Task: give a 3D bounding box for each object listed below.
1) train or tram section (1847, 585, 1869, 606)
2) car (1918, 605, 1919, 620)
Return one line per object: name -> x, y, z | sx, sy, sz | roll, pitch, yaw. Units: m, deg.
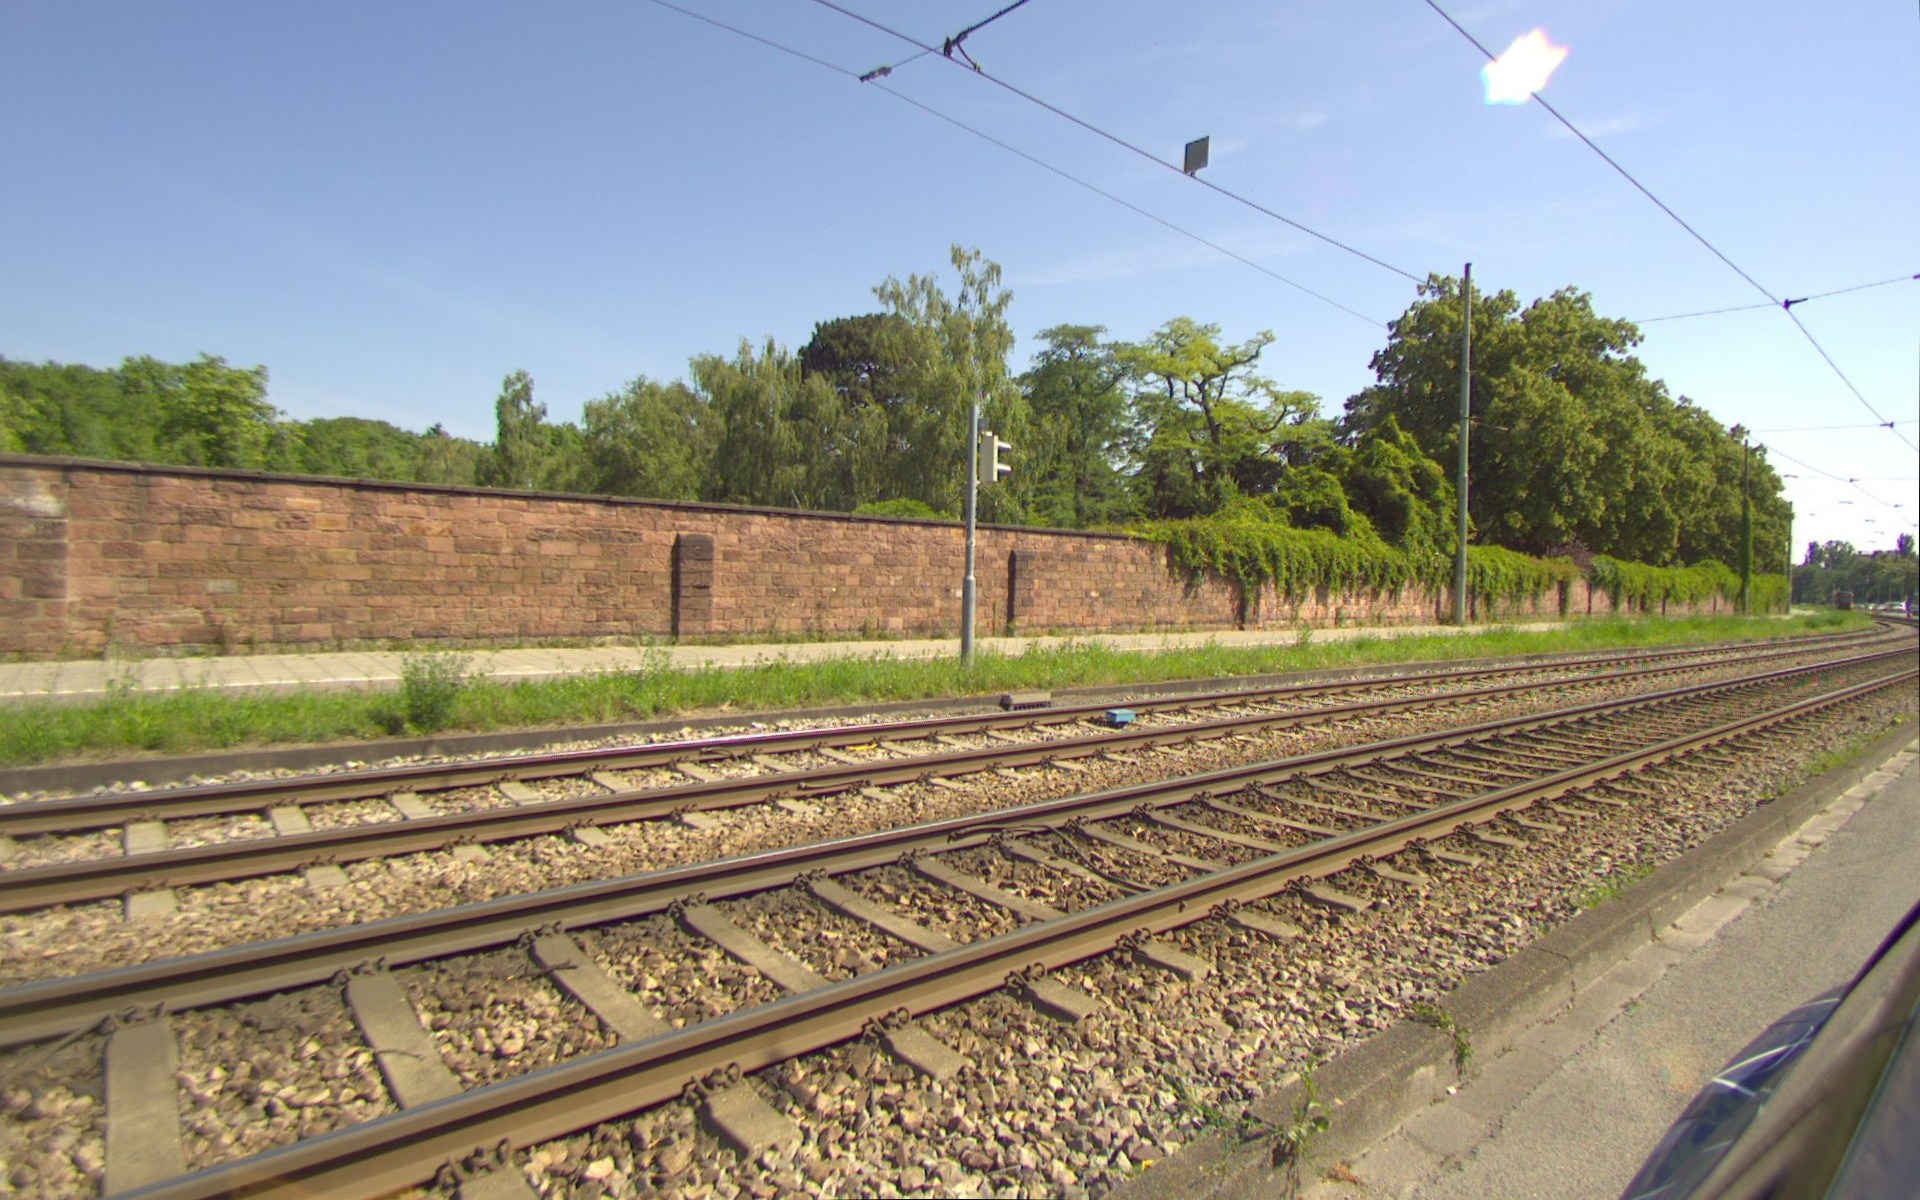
train or tram section -> 168.638, -0.811, 189.985 | 2.713, 3.785, 18.587 | 1, 1, 43
car -> 120.466, 1.556, 125.767 | 3.933, 1.738, 1.851 | -1, 0, -43
